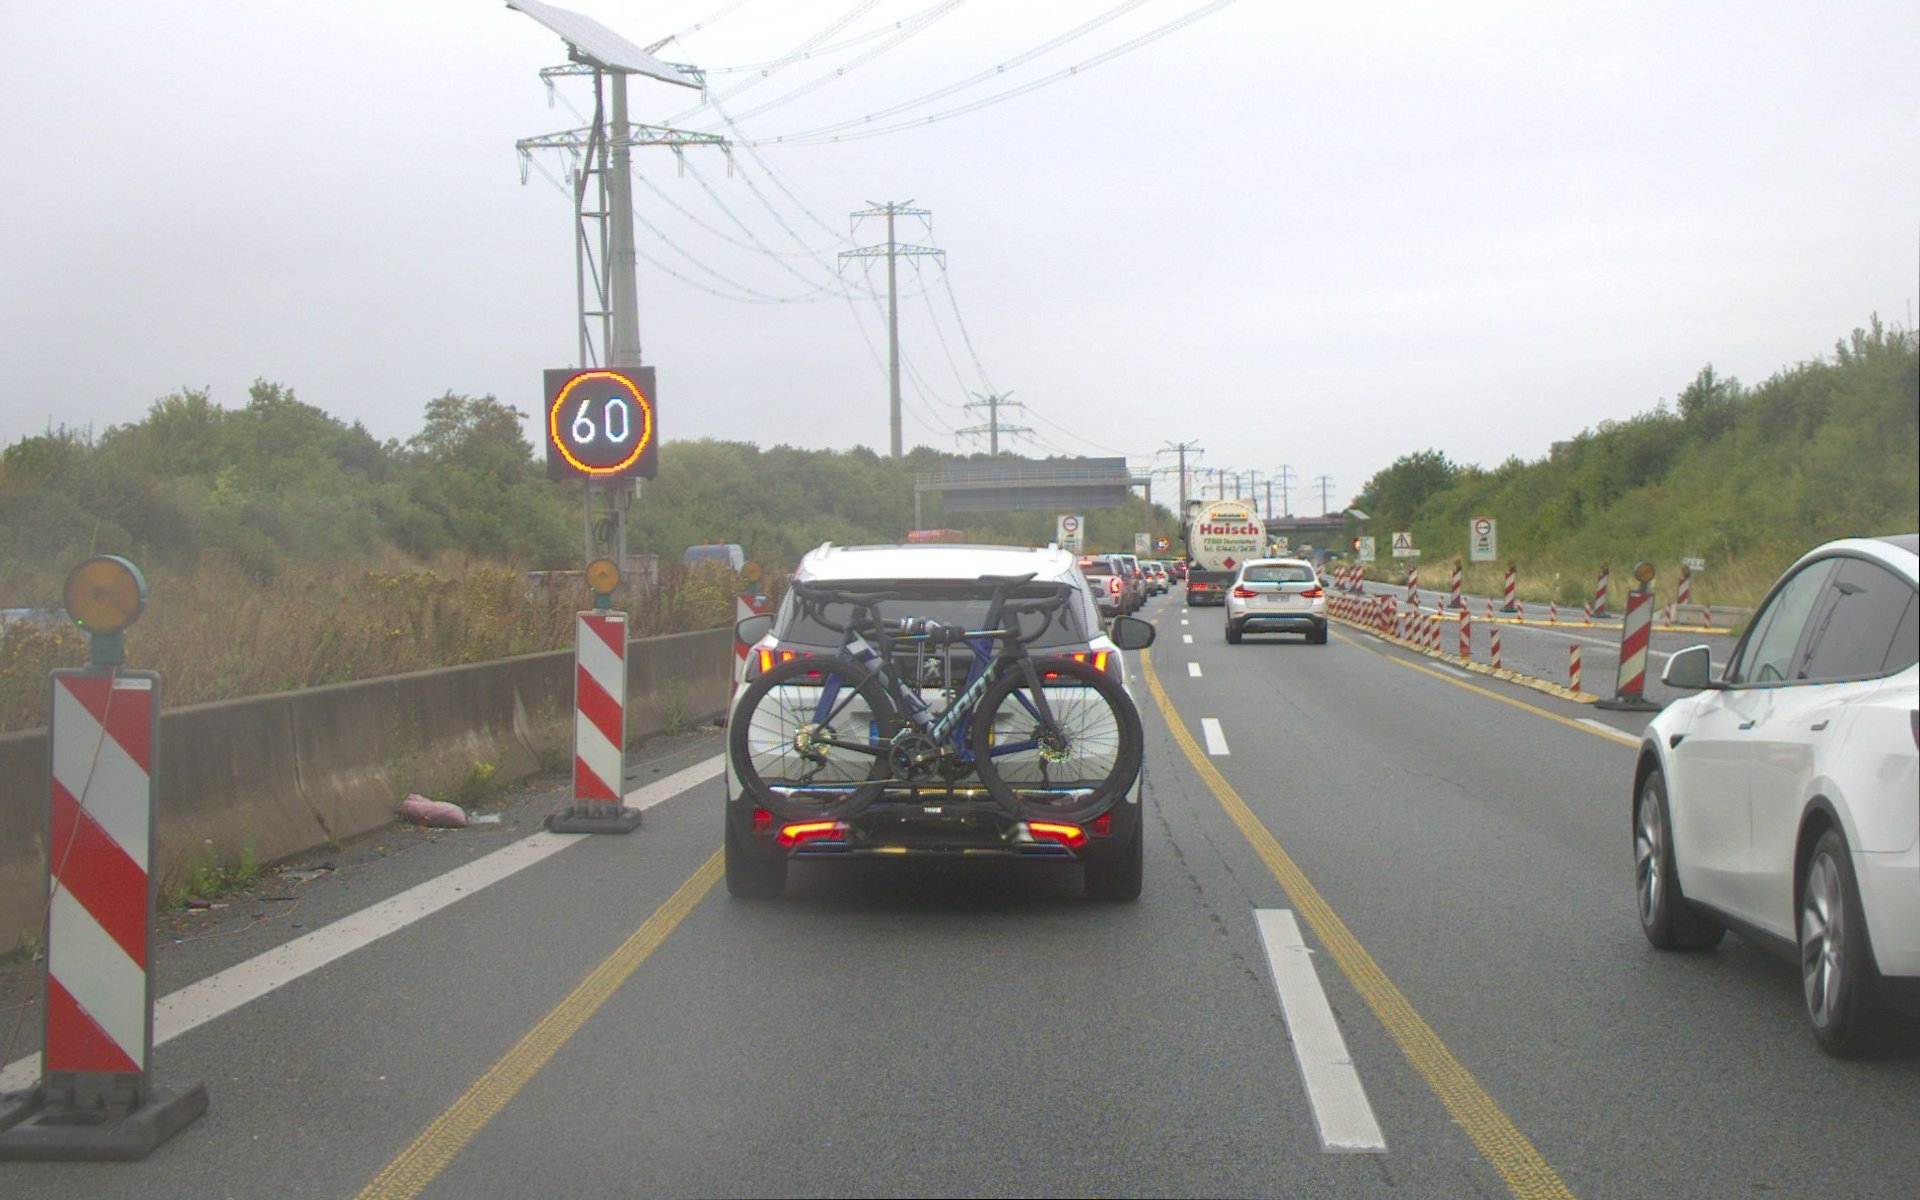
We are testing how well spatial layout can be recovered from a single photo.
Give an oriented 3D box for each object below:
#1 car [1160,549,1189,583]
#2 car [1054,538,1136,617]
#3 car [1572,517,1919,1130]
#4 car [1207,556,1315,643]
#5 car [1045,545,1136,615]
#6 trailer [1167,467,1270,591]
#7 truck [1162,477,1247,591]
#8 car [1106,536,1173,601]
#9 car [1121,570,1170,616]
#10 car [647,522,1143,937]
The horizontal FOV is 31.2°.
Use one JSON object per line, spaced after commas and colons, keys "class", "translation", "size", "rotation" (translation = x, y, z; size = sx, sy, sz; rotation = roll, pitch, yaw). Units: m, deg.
{"class": "car", "translation": [12.684, -2.027, 202.851], "size": [1.654, 2.007, 3.999], "rotation": [0, 1, 4]}
{"class": "car", "translation": [3.571, -0.615, 91.584], "size": [1.993, 2.007, 4.000], "rotation": [-1, 1, 0]}
{"class": "car", "translation": [3.534, 0.568, 11.217], "size": [2.045, 1.590, 5.801], "rotation": [1, 1, 0]}
{"class": "car", "translation": [5.458, -0.040, 62.683], "size": [1.870, 1.529, 4.196], "rotation": [0, 1, 4]}
{"class": "car", "translation": [3.015, -0.488, 80.340], "size": [1.993, 1.578, 4.000], "rotation": [0, 1, 0]}
{"class": "trailer", "translation": [8.495, -2.274, 113.958], "size": [2.638, 3.880, 10.543], "rotation": [1, 0, 0]}
{"class": "truck", "translation": [8.541, -2.290, 120.472], "size": [2.644, 3.877, 4.030], "rotation": [1, 0, 0]}
{"class": "car", "translation": [5.816, -1.050, 111.776], "size": [1.993, 2.007, 4.000], "rotation": [1, 1, 0]}
{"class": "car", "translation": [8.247, -0.307, 153.114], "size": [1.993, 2.007, 4.000], "rotation": [1, 0, 0]}
{"class": "car", "translation": [-0.149, 0.472, 15.681], "size": [1.928, 1.605, 4.595], "rotation": [0, 1, 3]}
